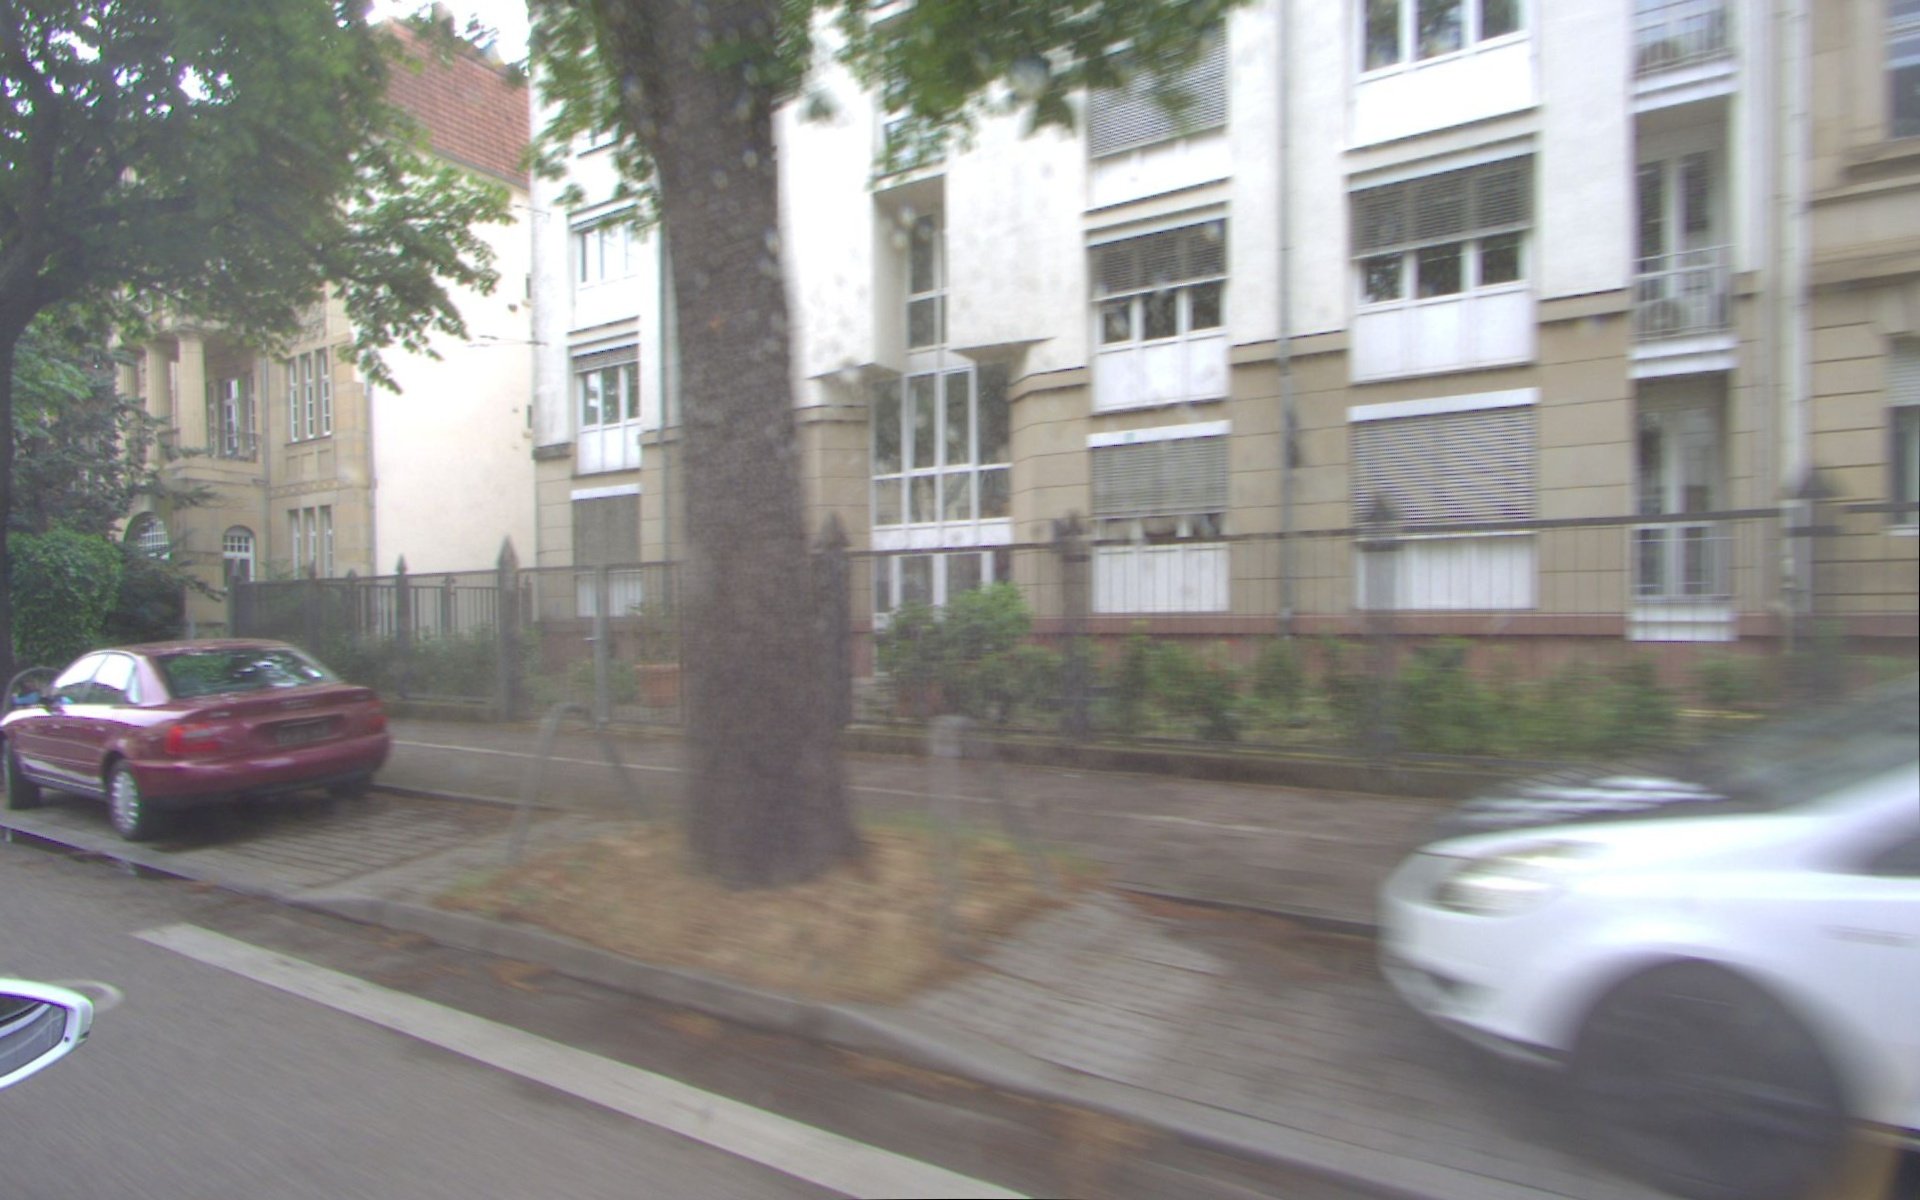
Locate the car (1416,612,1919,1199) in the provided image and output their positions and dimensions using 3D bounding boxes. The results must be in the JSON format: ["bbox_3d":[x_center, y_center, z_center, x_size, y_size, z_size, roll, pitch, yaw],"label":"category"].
[{"bbox_3d":[3.301,0.784,2.550,3.723,1.455,1.598,-1,2,32],"label":"car"}]

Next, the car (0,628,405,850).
[{"bbox_3d":[-6.735,0.998,8.579,4.166,1.418,1.598,-1,2,32],"label":"car"}]

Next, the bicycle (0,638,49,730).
[{"bbox_3d":[-12.891,1.115,13.203,0.425,1.213,1.903,-1,-2,-13],"label":"bicycle"}]
